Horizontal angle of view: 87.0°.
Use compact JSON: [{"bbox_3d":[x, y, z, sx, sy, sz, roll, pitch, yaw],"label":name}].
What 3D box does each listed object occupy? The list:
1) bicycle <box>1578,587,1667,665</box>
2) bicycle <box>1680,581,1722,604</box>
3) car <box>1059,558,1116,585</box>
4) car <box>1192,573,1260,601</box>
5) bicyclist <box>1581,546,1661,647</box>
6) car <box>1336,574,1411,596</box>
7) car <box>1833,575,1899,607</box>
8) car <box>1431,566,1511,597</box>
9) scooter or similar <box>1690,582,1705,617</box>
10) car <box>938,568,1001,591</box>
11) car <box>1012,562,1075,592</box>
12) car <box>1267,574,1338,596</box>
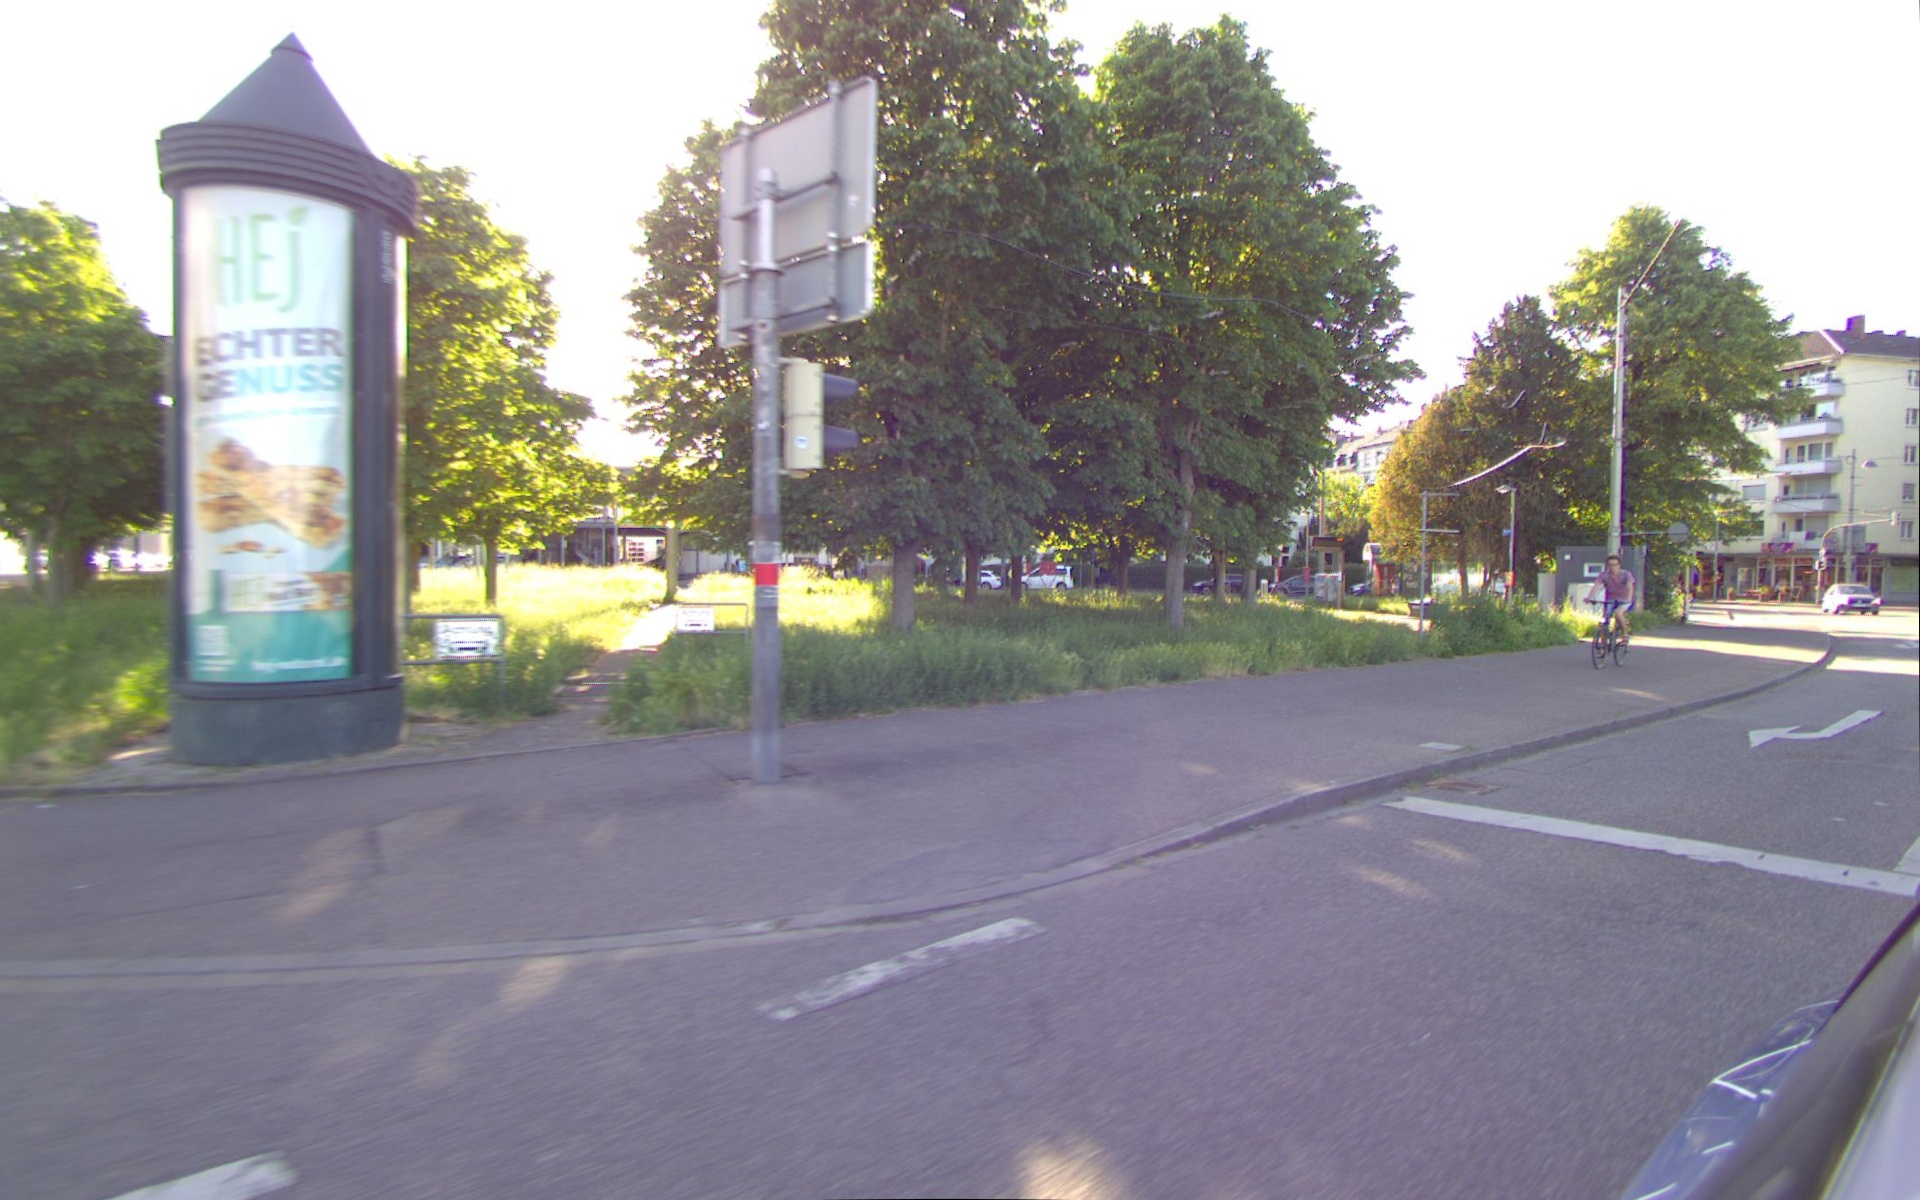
[{"bbox_3d":[11.153,0.410,17.008,1.966,1.207,0.720,-1,3,-41],"label":"bicycle"},{"bbox_3d":[37.996,-0.403,51.923,1.769,1.141,0.629,1,0,-7],"label":"bicycle"},{"bbox_3d":[9.599,-2.144,76.564,4.111,1.942,1.998,-2,1,4],"label":"car"},{"bbox_3d":[18.039,-0.899,68.845,4.111,1.738,1.998,-2,1,4],"label":"car"},{"bbox_3d":[11.108,-0.080,17.002,1.129,1.619,0.813,-1,3,-41],"label":"bicyclist"},{"bbox_3d":[27.420,-1.011,67.217,4.111,1.364,1.998,-2,1,4],"label":"car"},{"bbox_3d":[43.615,-0.433,48.792,1.689,1.459,3.607,0,0,30],"label":"car"},{"bbox_3d":[33.397,-1.201,66.210,4.173,1.880,1.998,-2,1,4],"label":"car"},{"bbox_3d":[26.894,-0.019,36.903,0.383,1.233,1.809,4,2,36],"label":"scooter or similar"},{"bbox_3d":[0.699,-1.436,71.407,4.300,1.445,1.689,-2,1,5],"label":"car"},{"bbox_3d":[5.823,-1.605,70.729,4.256,1.988,1.908,-2,1,5],"label":"car"},{"bbox_3d":[22.994,-1.032,68.064,4.111,1.361,1.998,-2,1,4],"label":"car"}]
